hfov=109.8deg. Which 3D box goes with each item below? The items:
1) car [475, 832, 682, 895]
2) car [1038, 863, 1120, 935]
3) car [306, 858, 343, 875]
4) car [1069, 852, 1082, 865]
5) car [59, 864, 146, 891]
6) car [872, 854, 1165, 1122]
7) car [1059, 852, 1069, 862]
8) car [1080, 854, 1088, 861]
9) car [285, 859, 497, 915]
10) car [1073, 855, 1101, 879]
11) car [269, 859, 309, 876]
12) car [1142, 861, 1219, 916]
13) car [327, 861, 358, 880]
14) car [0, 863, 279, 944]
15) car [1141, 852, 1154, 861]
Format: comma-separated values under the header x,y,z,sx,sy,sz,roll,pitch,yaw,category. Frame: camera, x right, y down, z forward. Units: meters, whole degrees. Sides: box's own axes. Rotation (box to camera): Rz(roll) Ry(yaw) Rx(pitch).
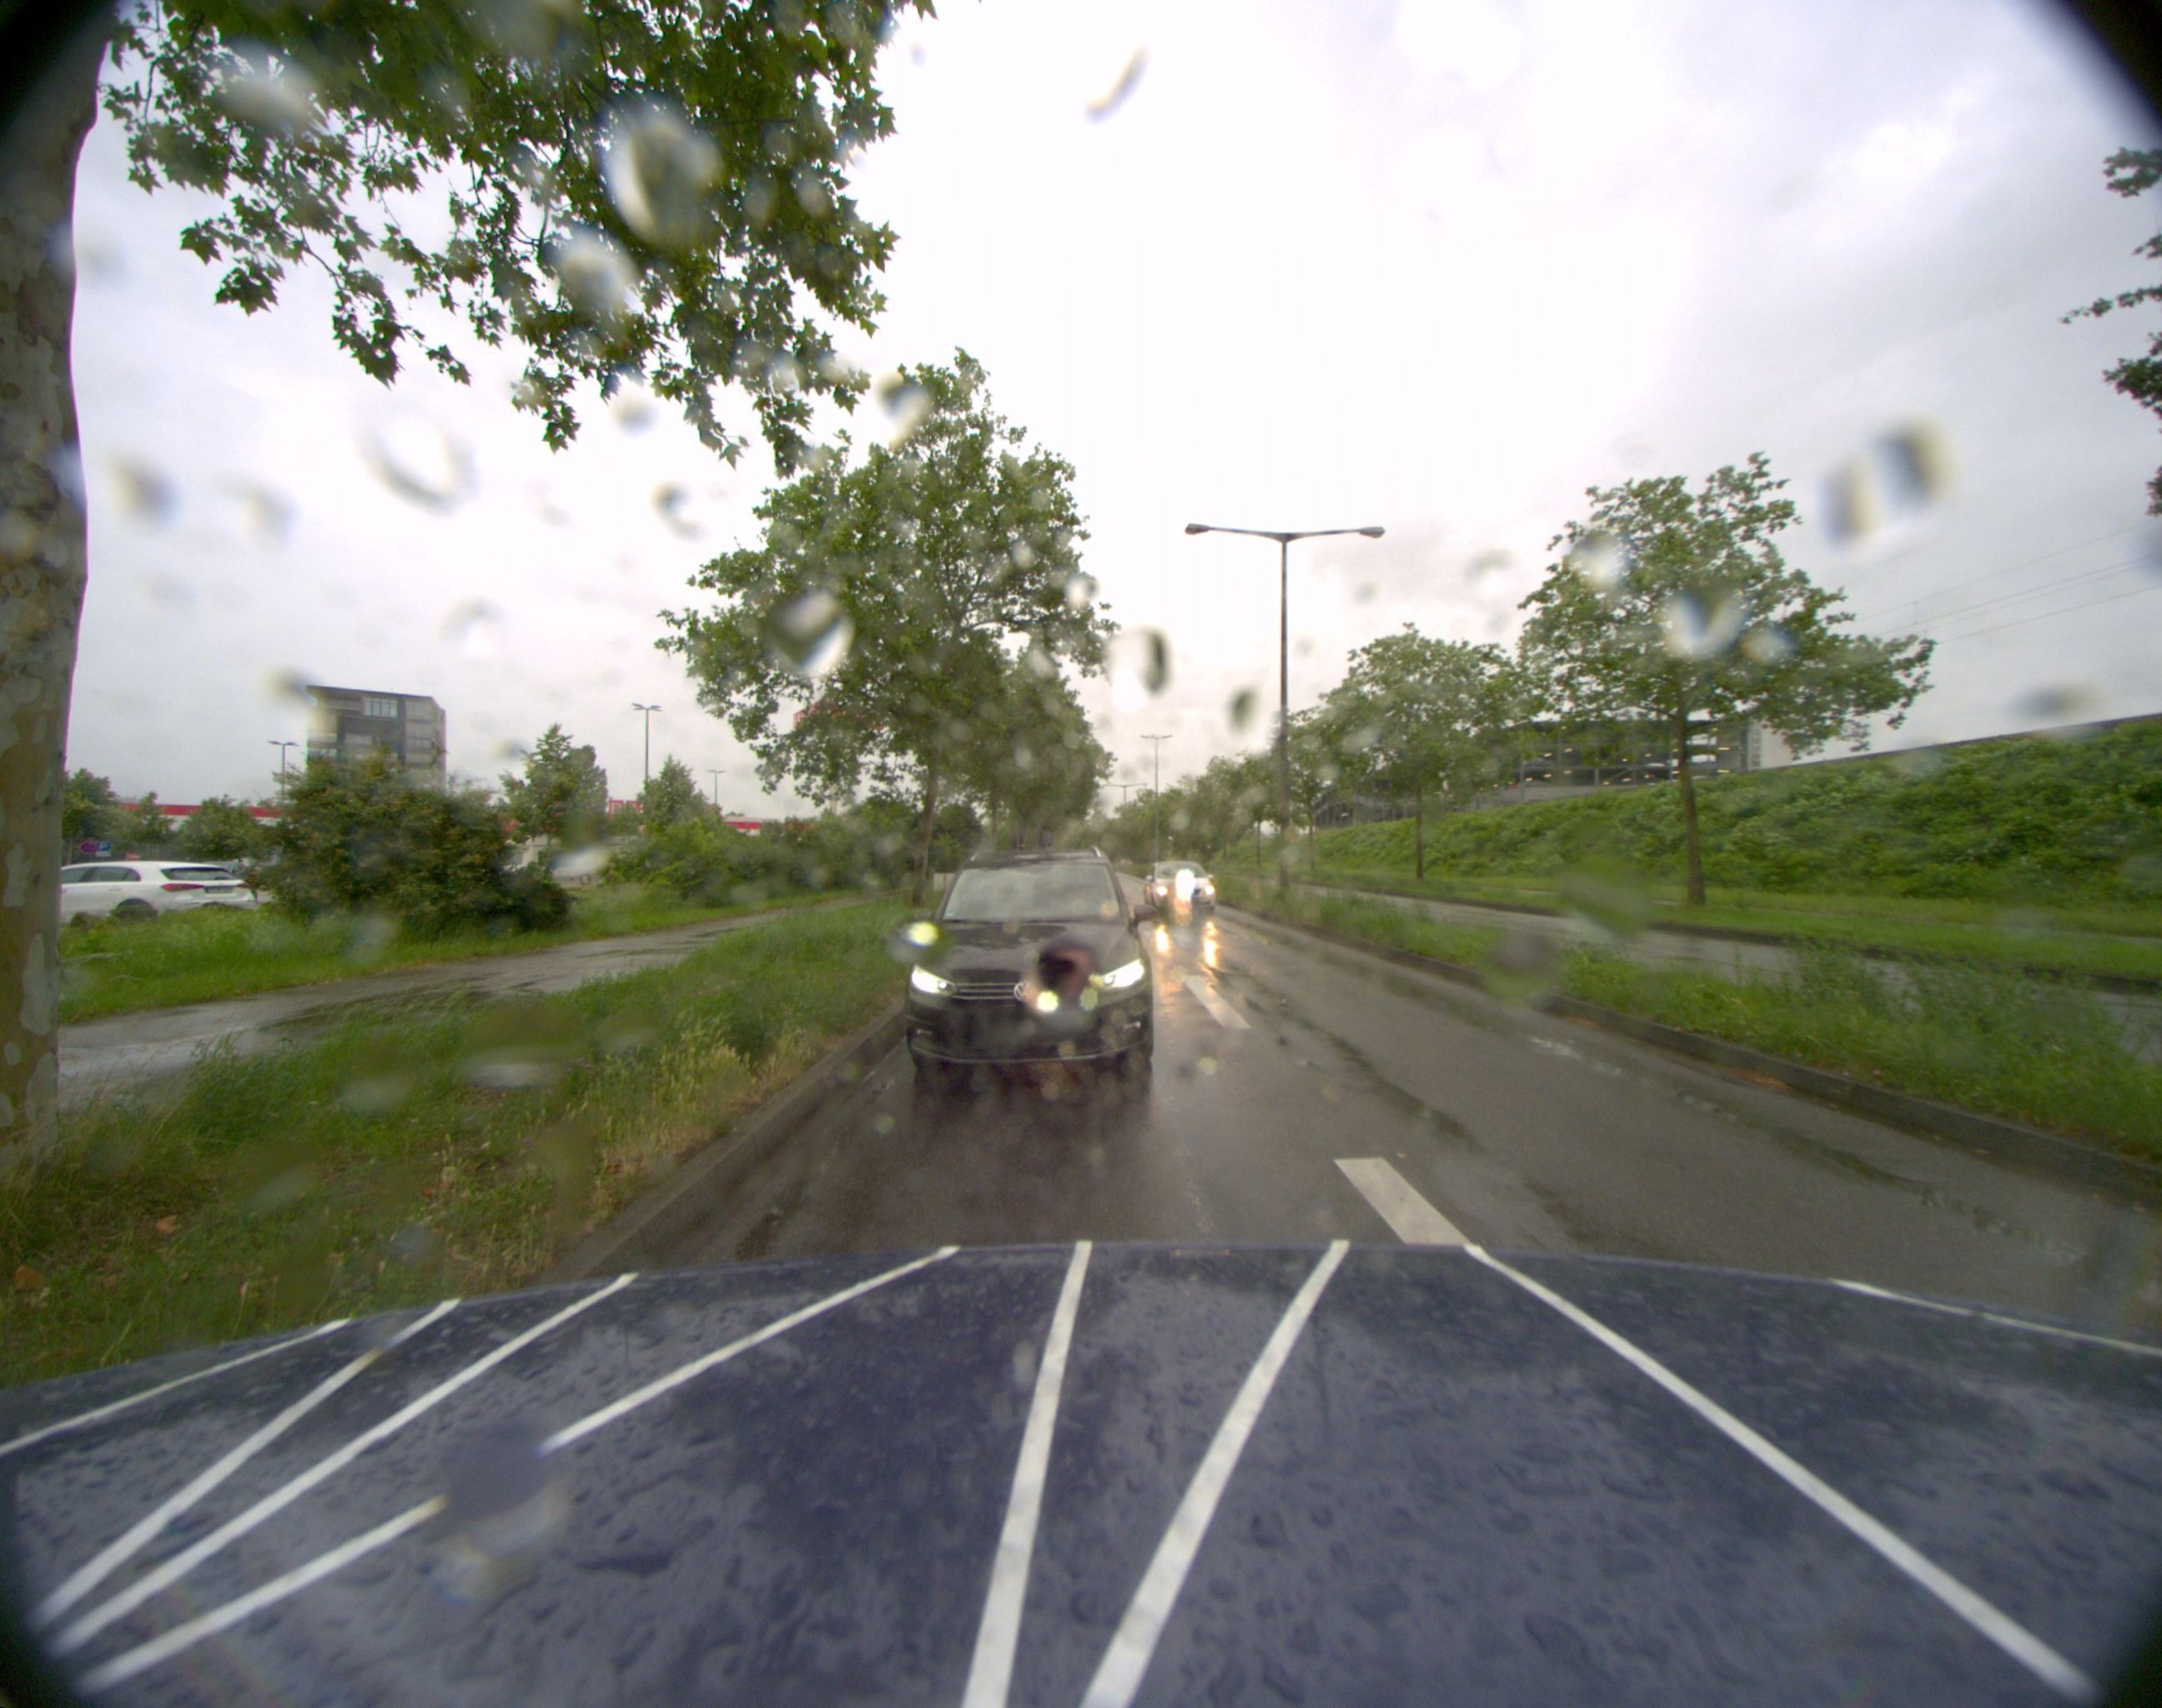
x,y,z,sx,sy,sz,roll,pitch,yaw,category
-19.662,0.362,30.082,6.425,2.349,2.390,0,0,-8,car
-0.050,0.995,18.565,1.724,1.456,4.092,-2,0,0,car
-78.467,1.237,78.865,2.006,1.667,4.262,0,0,-35,car
-0.792,0.676,110.732,1.831,1.737,4.147,-2,0,0,car
-61.901,1.438,48.168,1.933,1.543,4.263,0,0,-30,car
-0.433,0.836,7.071,1.771,1.596,4.626,-2,0,-1,car
-3.574,0.539,162.257,1.999,2.002,5.130,-2,1,-3,car
0.683,0.776,166.015,1.724,1.456,4.092,0,0,0,car
-19.942,0.925,22.132,4.272,1.543,1.929,0,0,-4,car
0.402,0.810,49.066,1.724,1.456,4.092,-2,0,1,car
-80.577,1.335,77.333,2.006,1.667,4.262,0,0,-35,car
2.782,0.921,21.951,1.683,1.368,4.011,-2,0,0,car
-69.370,1.547,71.363,2.007,1.667,4.261,0,1,-45,car
-19.789,0.967,15.662,4.272,1.543,1.929,0,0,-4,car
11.221,0.382,128.292,1.724,1.456,4.092,0,0,0,car
